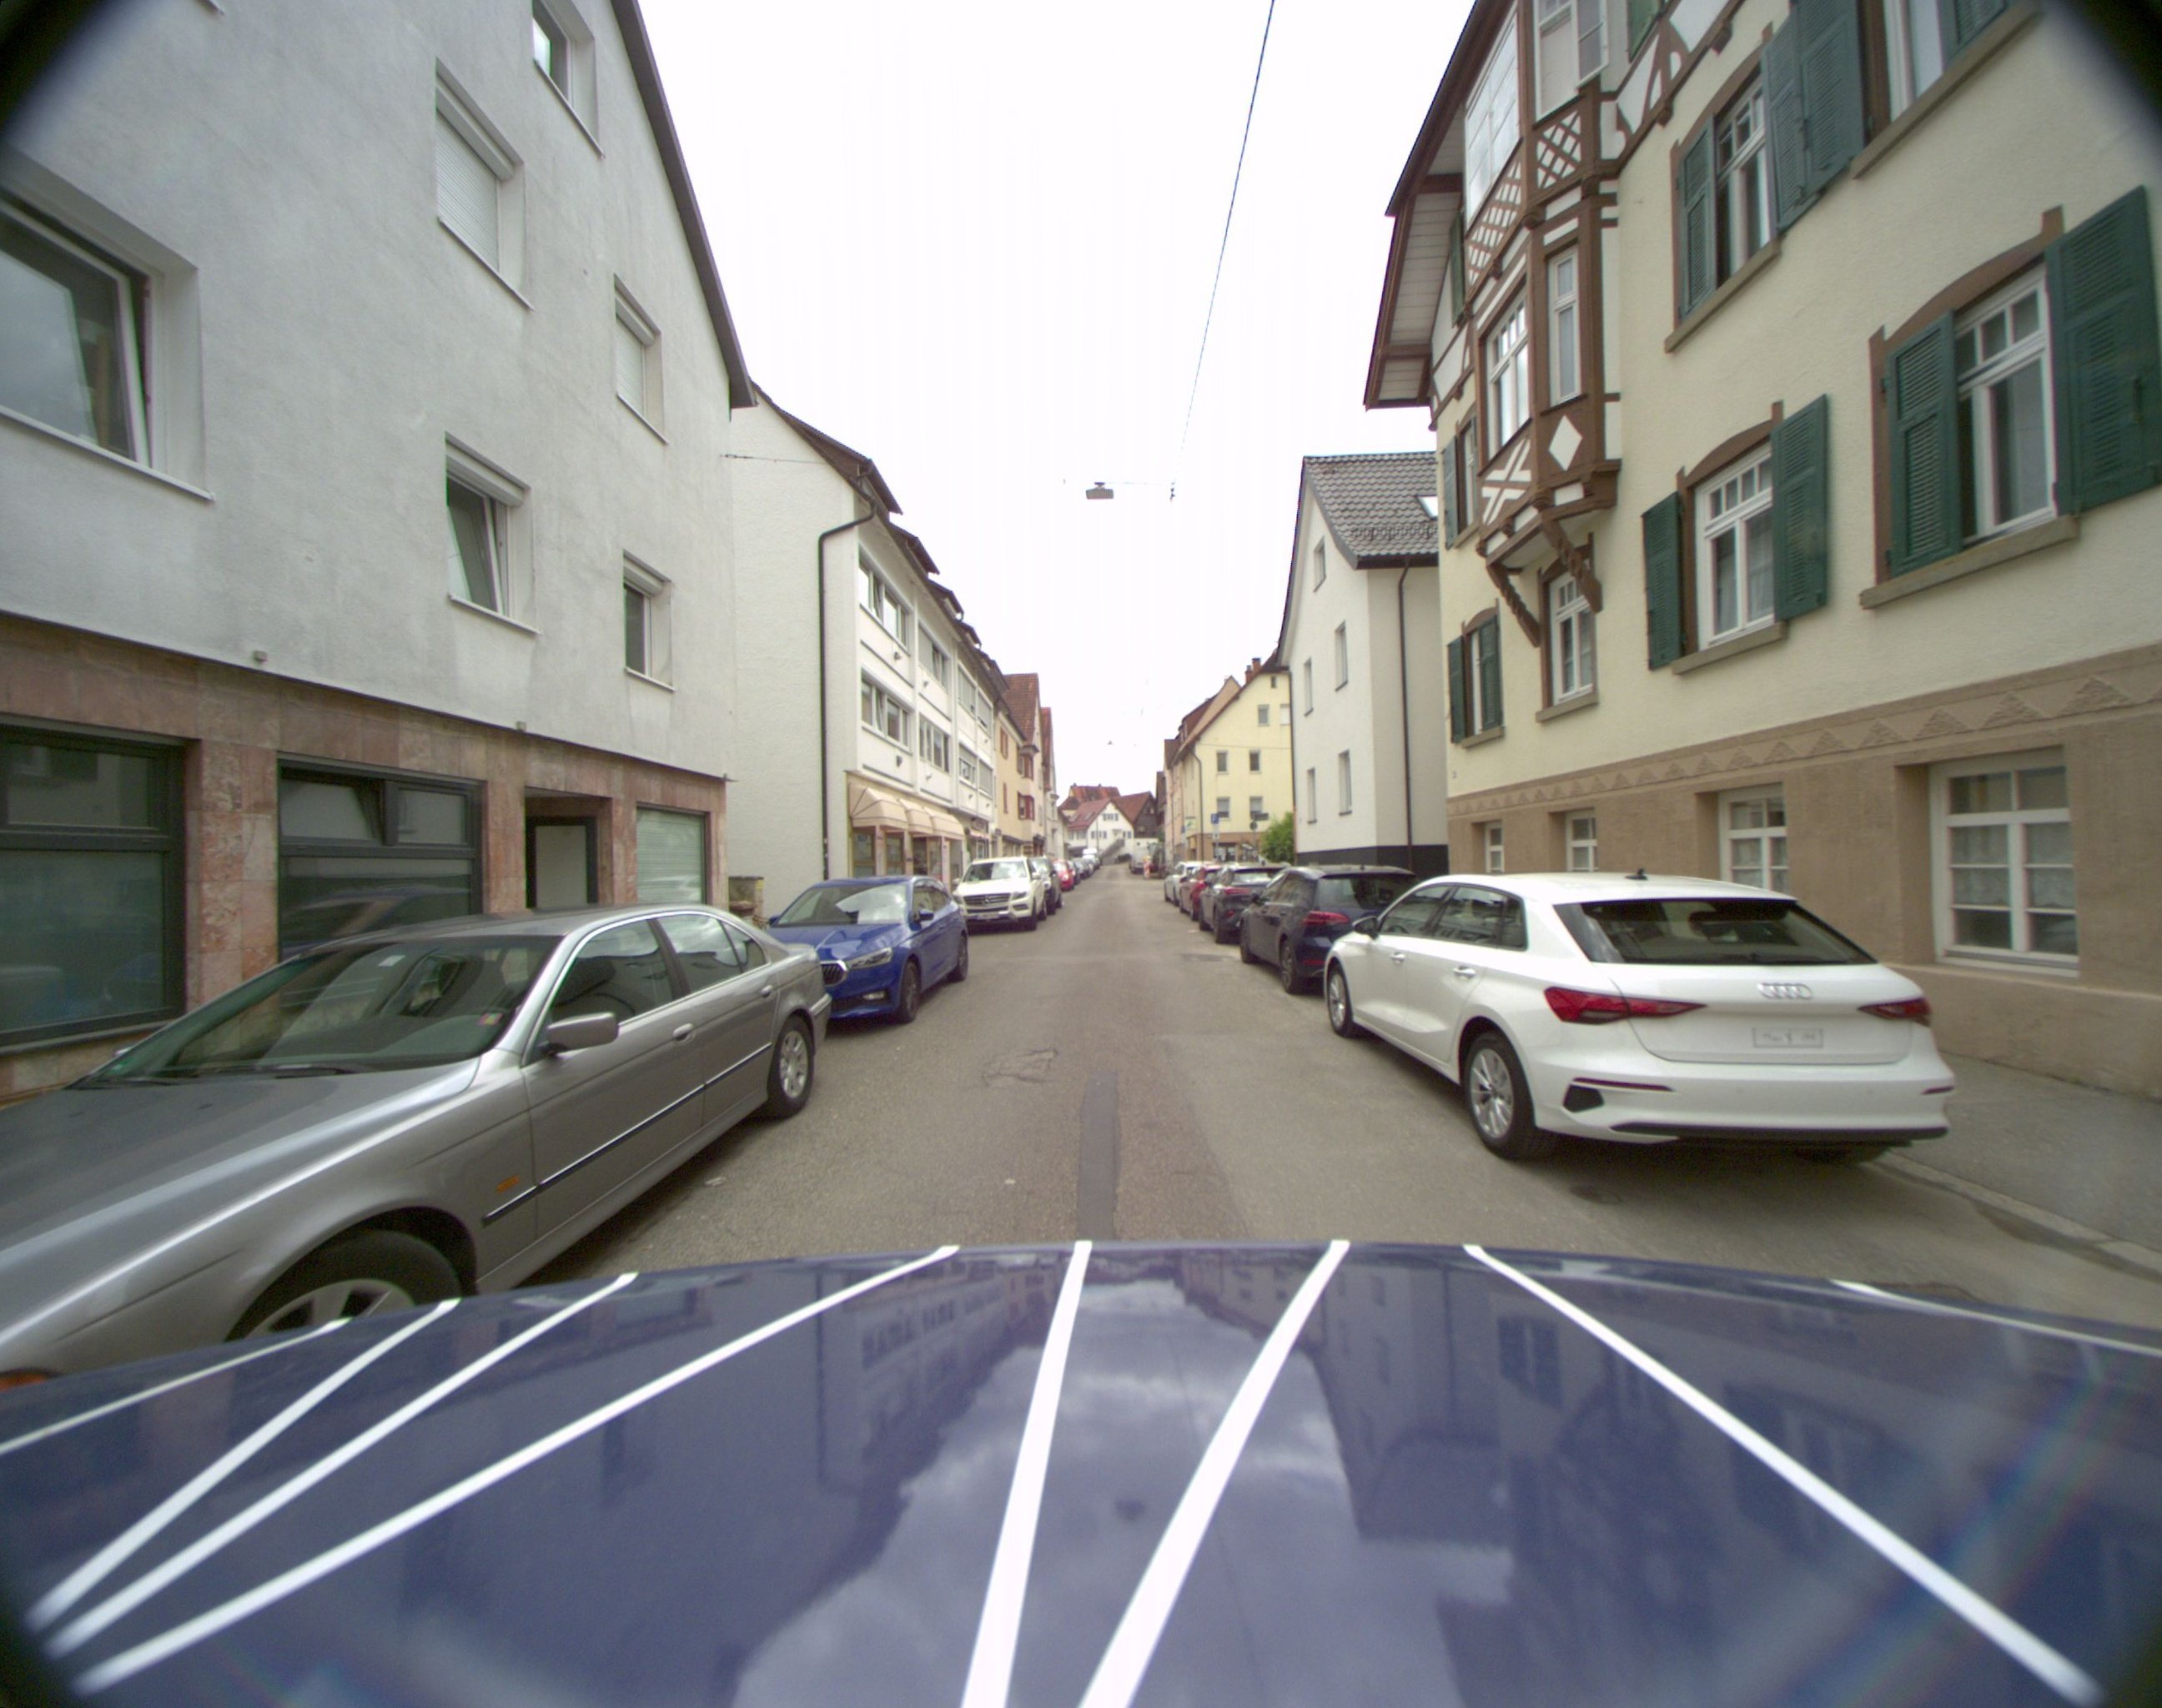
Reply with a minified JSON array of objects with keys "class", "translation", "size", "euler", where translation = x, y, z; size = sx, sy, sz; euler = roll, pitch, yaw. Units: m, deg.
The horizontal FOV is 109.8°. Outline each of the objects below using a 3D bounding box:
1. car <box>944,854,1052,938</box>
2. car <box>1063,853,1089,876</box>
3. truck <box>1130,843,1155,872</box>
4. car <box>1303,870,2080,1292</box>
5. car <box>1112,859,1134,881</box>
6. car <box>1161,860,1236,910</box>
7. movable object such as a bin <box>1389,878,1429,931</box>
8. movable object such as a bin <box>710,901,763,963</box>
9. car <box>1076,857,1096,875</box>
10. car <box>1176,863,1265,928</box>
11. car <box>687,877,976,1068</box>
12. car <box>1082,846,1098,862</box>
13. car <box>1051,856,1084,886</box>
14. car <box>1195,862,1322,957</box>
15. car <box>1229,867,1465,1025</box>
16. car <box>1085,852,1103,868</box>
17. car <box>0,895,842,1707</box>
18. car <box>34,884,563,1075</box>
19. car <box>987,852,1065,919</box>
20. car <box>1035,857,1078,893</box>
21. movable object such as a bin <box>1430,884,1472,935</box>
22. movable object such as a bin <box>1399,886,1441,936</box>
[{"class":"car","translation":[-1.866,0.902,18.558],"size":[1.900,1.695,4.494],"euler":[-2,1,2]},{"class":"car","translation":[-0.330,0.719,54.817],"size":[1.606,1.464,3.989],"euler":[-4,1,2]},{"class":"truck","translation":[5.357,0.285,66.781],"size":[1.783,2.378,5.485],"euler":[-2,1,1]},{"class":"car","translation":[2.927,0.901,5.065],"size":[1.755,1.424,4.370],"euler":[1,1,2]},{"class":"car","translation":[3.297,1.239,59.843],"size":[1.606,1.464,3.551],"euler":[-4,1,2]},{"class":"car","translation":[3.815,0.970,25.314],"size":[1.756,1.423,4.349],"euler":[1,1,-1]},{"class":"movable object such as a bin","translation":[6.620,1.006,15.353],"size":[0.515,1.009,0.604],"euler":[-2,0,3]},{"class":"movable object such as a bin","translation":[-5.442,1.224,12.026],"size":[0.570,0.924,0.522],"euler":[1,0,3]},{"class":"car","translation":[0.480,1.096,70.100],"size":[1.606,1.464,3.551],"euler":[-4,1,2]},{"class":"car","translation":[3.592,1.012,20.206],"size":[1.755,1.441,4.067],"euler":[1,1,2]},{"class":"car","translation":[-2.450,1.099,8.589],"size":[1.756,1.424,3.928],"euler":[-3,1,2]},{"class":"car","translation":[1.063,-0.035,89.488],"size":[1.606,1.716,3.551],"euler":[-4,1,2]},{"class":"car","translation":[-0.768,0.969,45.415],"size":[1.606,1.519,3.989],"euler":[-4,1,2]},{"class":"car","translation":[3.326,0.968,14.992],"size":[1.755,1.501,4.085],"euler":[1,1,3]},{"class":"car","translation":[3.148,0.980,9.977],"size":[1.755,1.447,4.370],"euler":[1,1,3]},{"class":"car","translation":[1.385,0.631,79.025],"size":[1.606,1.464,3.551],"euler":[-4,1,2]},{"class":"car","translation":[-2.736,1.094,3.234],"size":[1.791,1.409,4.578],"euler":[-4,1,1]},{"class":"car","translation":[-8.326,1.206,8.738],"size":[1.647,1.424,4.013],"euler":[-3,1,5]},{"class":"car","translation":[-1.604,0.893,23.783],"size":[1.900,1.779,4.344],"euler":[-2,1,2]},{"class":"car","translation":[-1.167,1.013,37.772],"size":[1.673,1.519,3.989],"euler":[-4,1,3]},{"class":"movable object such as a bin","translation":[7.122,1.058,14.645],"size":[0.515,0.926,0.604],"euler":[-2,0,3]},{"class":"movable object such as a bin","translation":[6.565,1.094,14.726],"size":[0.515,0.926,0.604],"euler":[-2,0,3]}]
